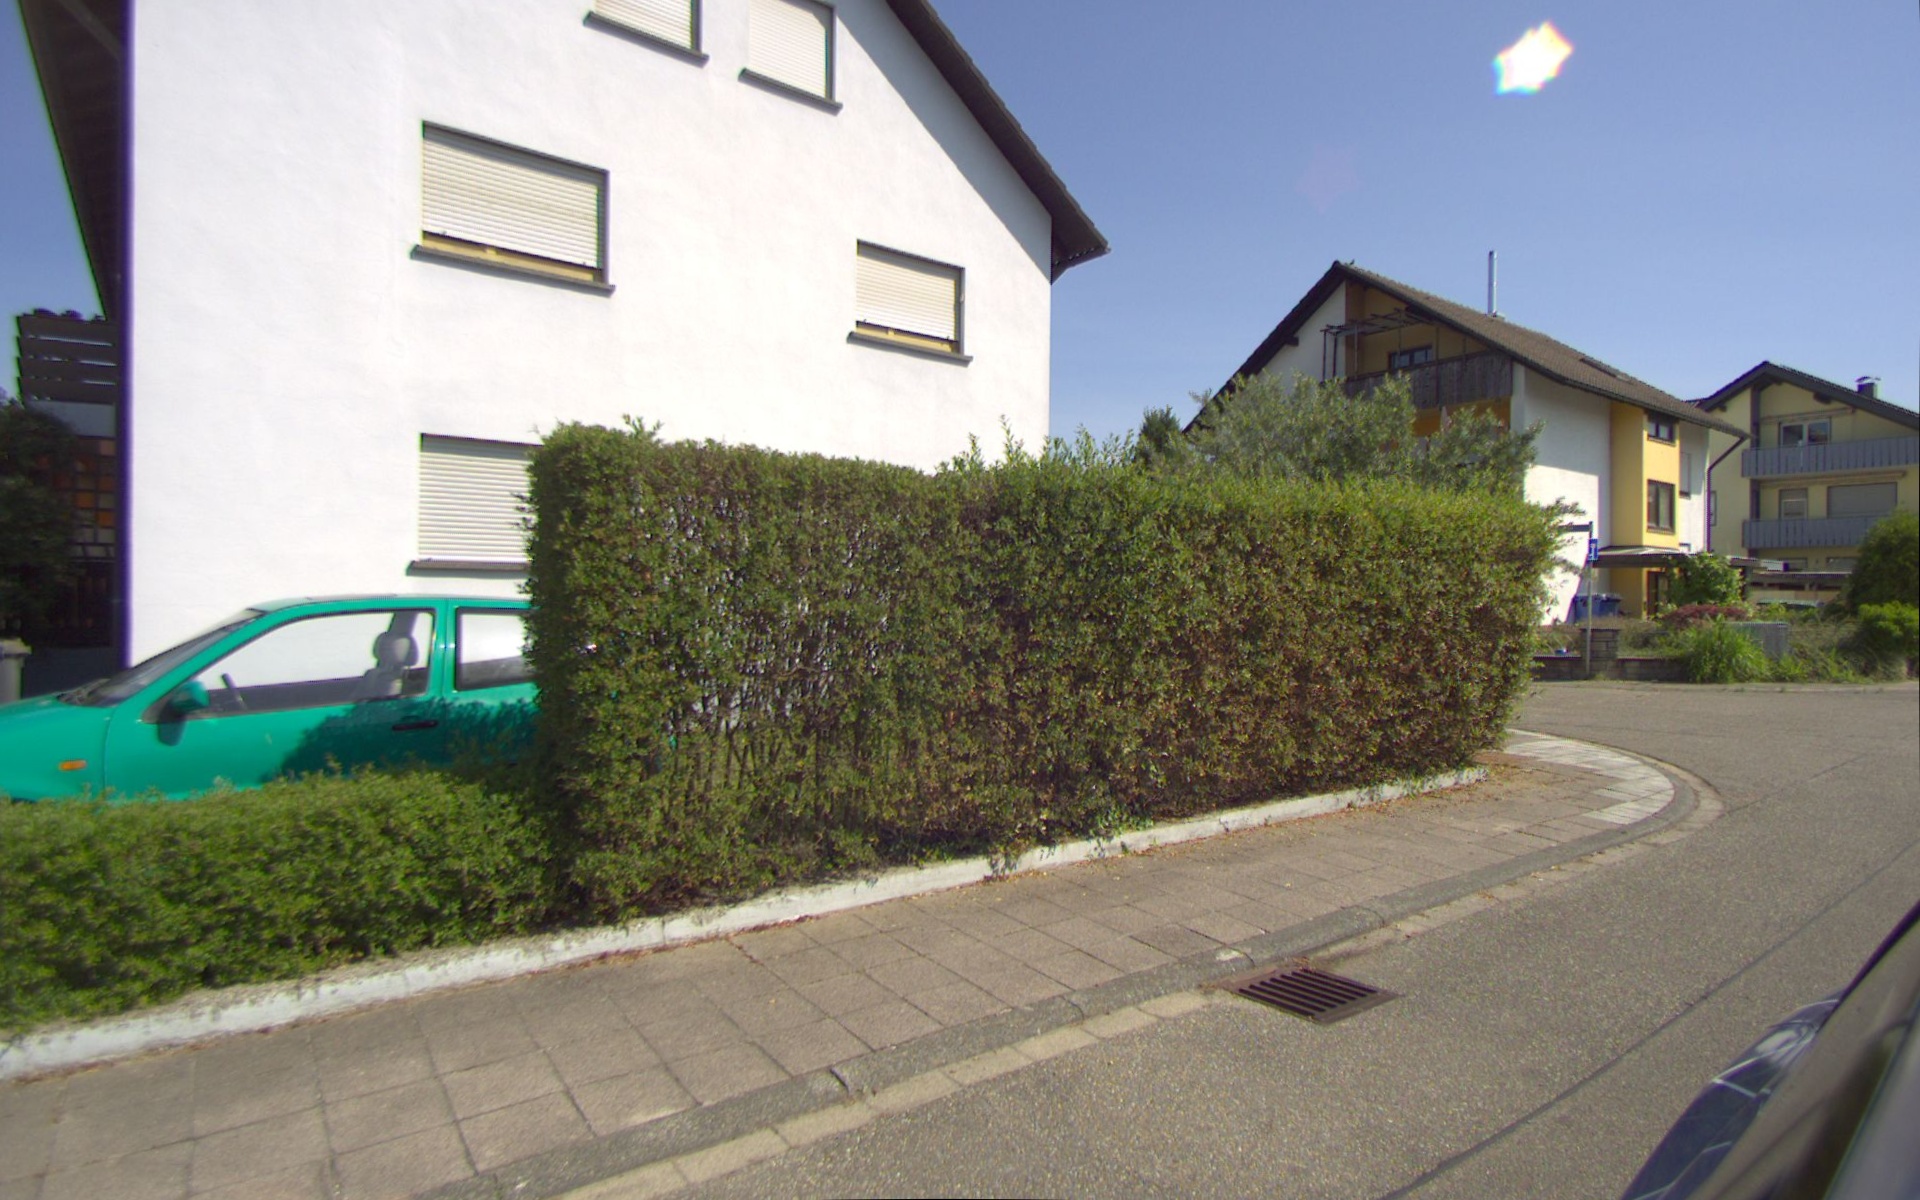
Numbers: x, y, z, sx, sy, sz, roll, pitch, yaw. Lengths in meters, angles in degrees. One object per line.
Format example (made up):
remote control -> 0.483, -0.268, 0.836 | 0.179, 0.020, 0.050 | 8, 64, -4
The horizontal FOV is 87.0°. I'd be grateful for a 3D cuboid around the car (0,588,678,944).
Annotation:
car -> -3.389, 0.634, 5.158 | 3.464, 1.376, 1.497 | 0, 0, -40
